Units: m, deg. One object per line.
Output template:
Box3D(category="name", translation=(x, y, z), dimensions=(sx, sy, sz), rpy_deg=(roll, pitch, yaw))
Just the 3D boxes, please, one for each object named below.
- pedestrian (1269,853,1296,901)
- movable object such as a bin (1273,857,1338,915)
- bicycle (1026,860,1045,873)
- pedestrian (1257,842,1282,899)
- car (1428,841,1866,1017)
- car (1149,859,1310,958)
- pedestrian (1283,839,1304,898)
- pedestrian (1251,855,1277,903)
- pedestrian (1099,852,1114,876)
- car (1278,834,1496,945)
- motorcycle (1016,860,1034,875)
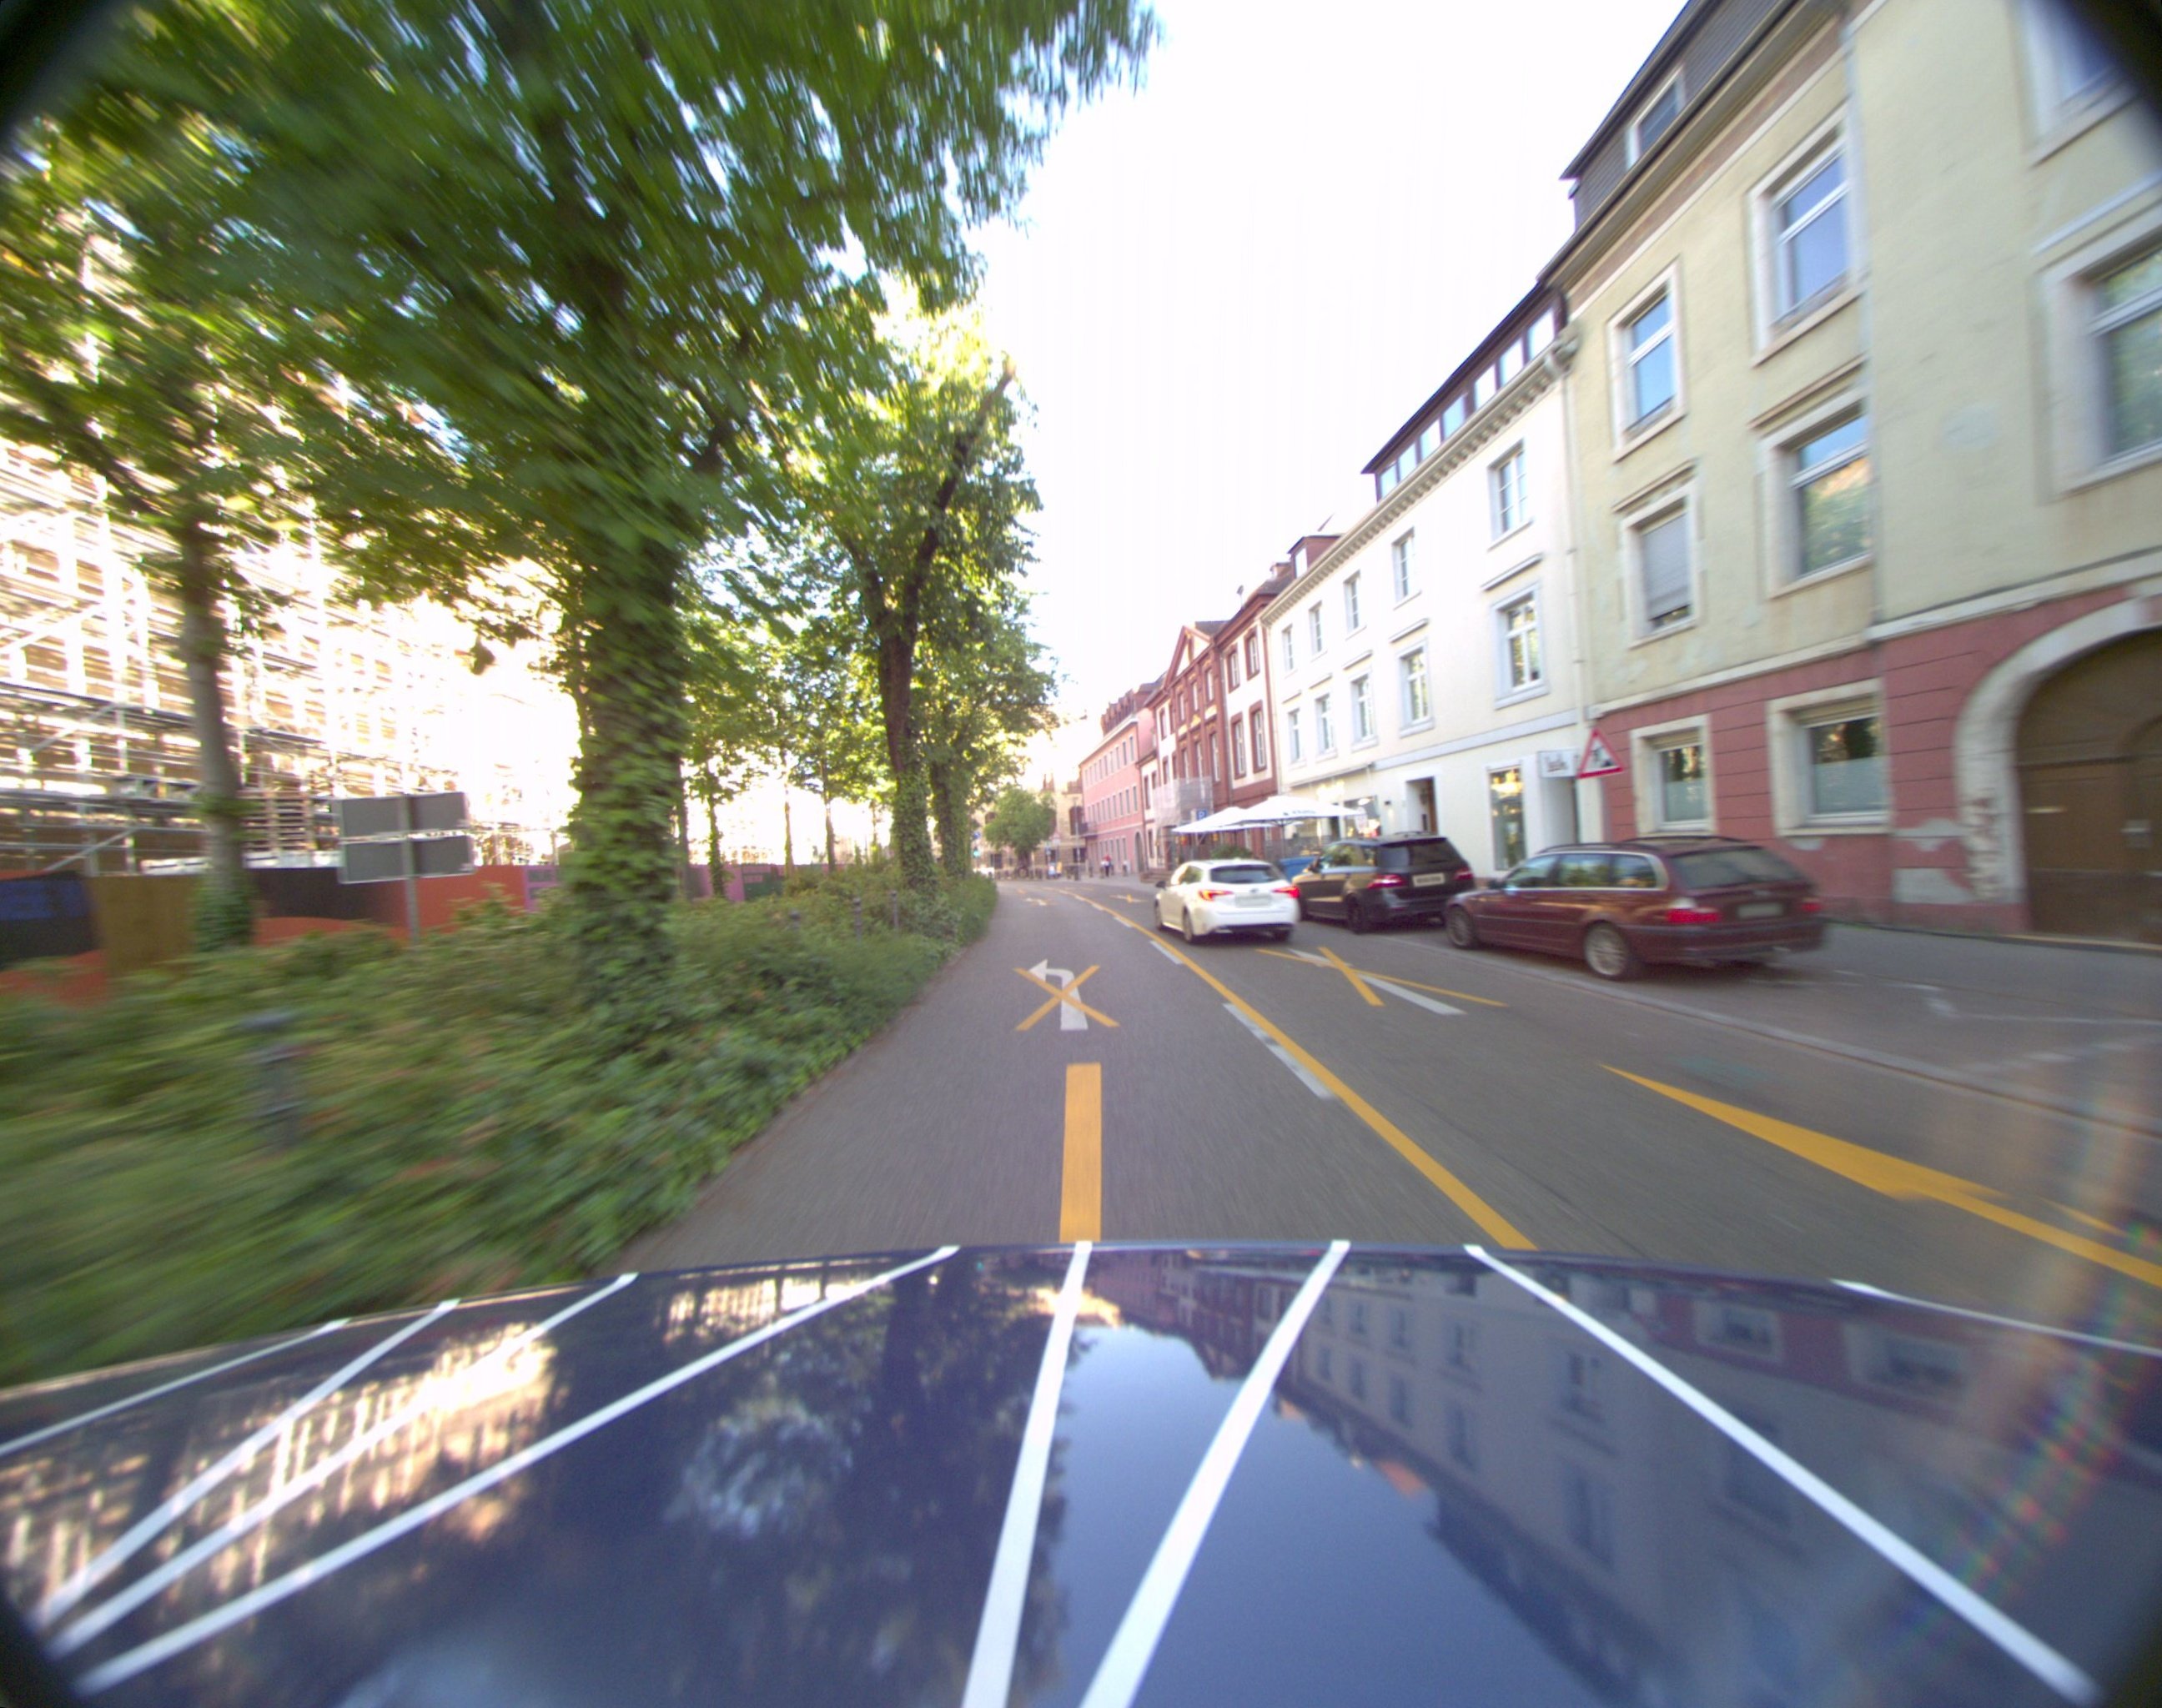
Box3D(category="pedestrian", translation=(5.962, 0.672, 22.455), dimensions=(0.525, 1.383, 0.488), rpy_deg=(-4, 1, -9))
Box3D(category="movable object such as a bin", translation=(5.428, 0.760, 18.415), dimensions=(1.219, 1.288, 0.930), rpy_deg=(-4, 1, -1))
Box3D(category="bicycle", translation=(-4.318, 1.202, 72.458), dimensions=(0.682, 1.199, 2.009), rpy_deg=(-2, 0, 35))
Box3D(category="pedestrian", translation=(6.017, 0.517, 24.295), dimensions=(0.597, 1.764, 0.439), rpy_deg=(-4, 1, 3))
Box3D(category="car", translation=(6.110, 0.673, 9.035), dimensions=(1.658, 1.471, 4.426), rpy_deg=(-3, 0, -4))
Box3D(category="car", translation=(2.515, 0.861, 14.028), dimensions=(1.740, 1.413, 4.426), rpy_deg=(-3, 0, -5))
Box3D(category="pedestrian", translation=(6.505, 0.425, 23.290), dimensions=(0.438, 1.764, 0.598), rpy_deg=(-4, 1, 7))
Box3D(category="pedestrian", translation=(5.380, 0.733, 22.378), dimensions=(0.525, 1.383, 0.488), rpy_deg=(-4, 1, -9))
Box3D(category="pedestrian", translation=(1.881, 0.712, 55.589), dimensions=(0.793, 1.679, 0.868), rpy_deg=(-6, 1, -9))
Box3D(category="car", translation=(5.553, 0.572, 14.598), dimensions=(1.927, 1.670, 4.783), rpy_deg=(-3, 0, -4))
Box3D(category="motorcycle", translation=(-5.194, 1.235, 70.268), dimensions=(0.815, 1.309, 2.333), rpy_deg=(-4, 0, -22))
